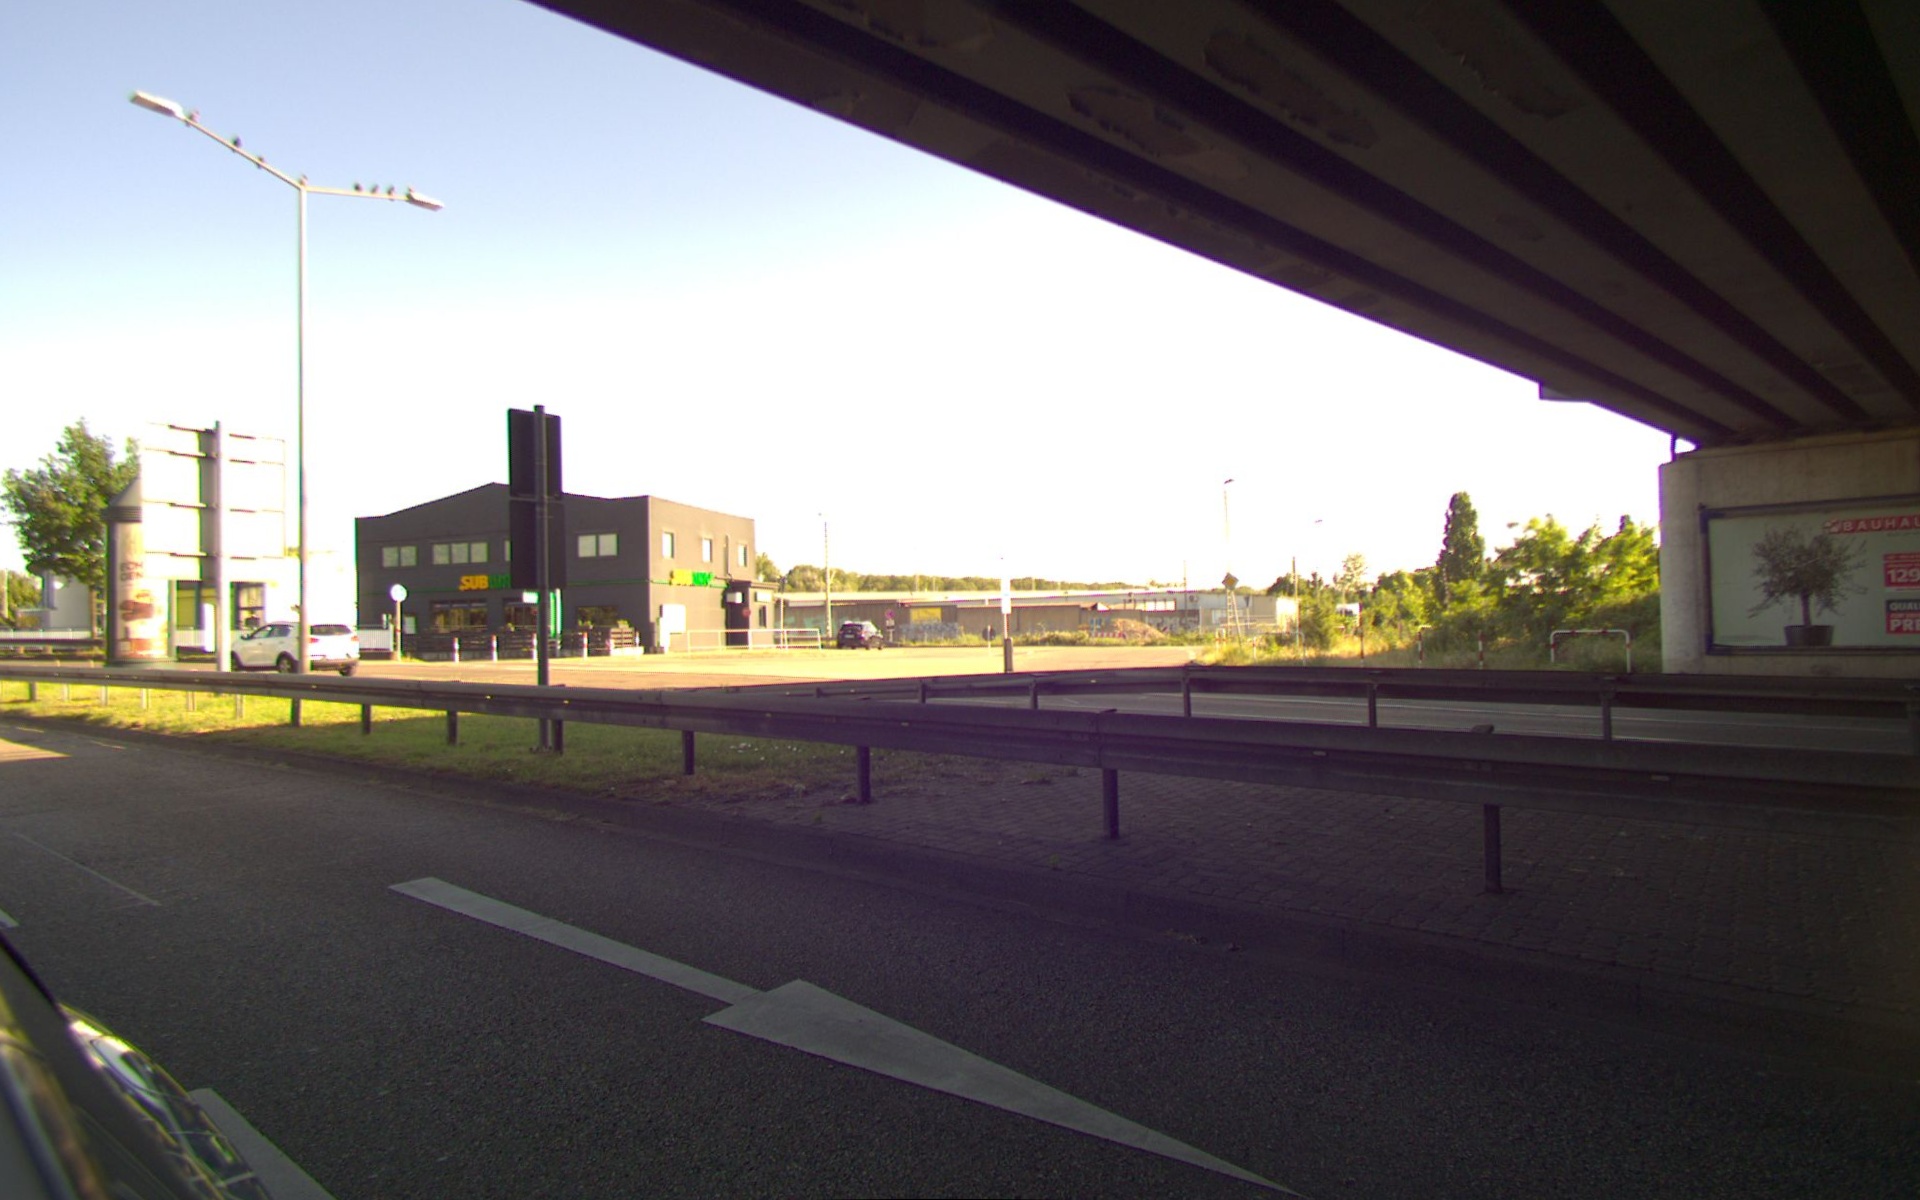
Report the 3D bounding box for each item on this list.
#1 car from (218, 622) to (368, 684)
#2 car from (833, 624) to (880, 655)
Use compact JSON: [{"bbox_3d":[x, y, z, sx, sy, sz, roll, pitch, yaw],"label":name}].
[{"bbox_3d":[-18.936,1.478,28.714,4.276,1.619,1.788,-1,-1,29],"label":"car"},{"bbox_3d":[-5.485,2.092,54.193,1.859,1.453,3.996,-1,0,4],"label":"car"}]
